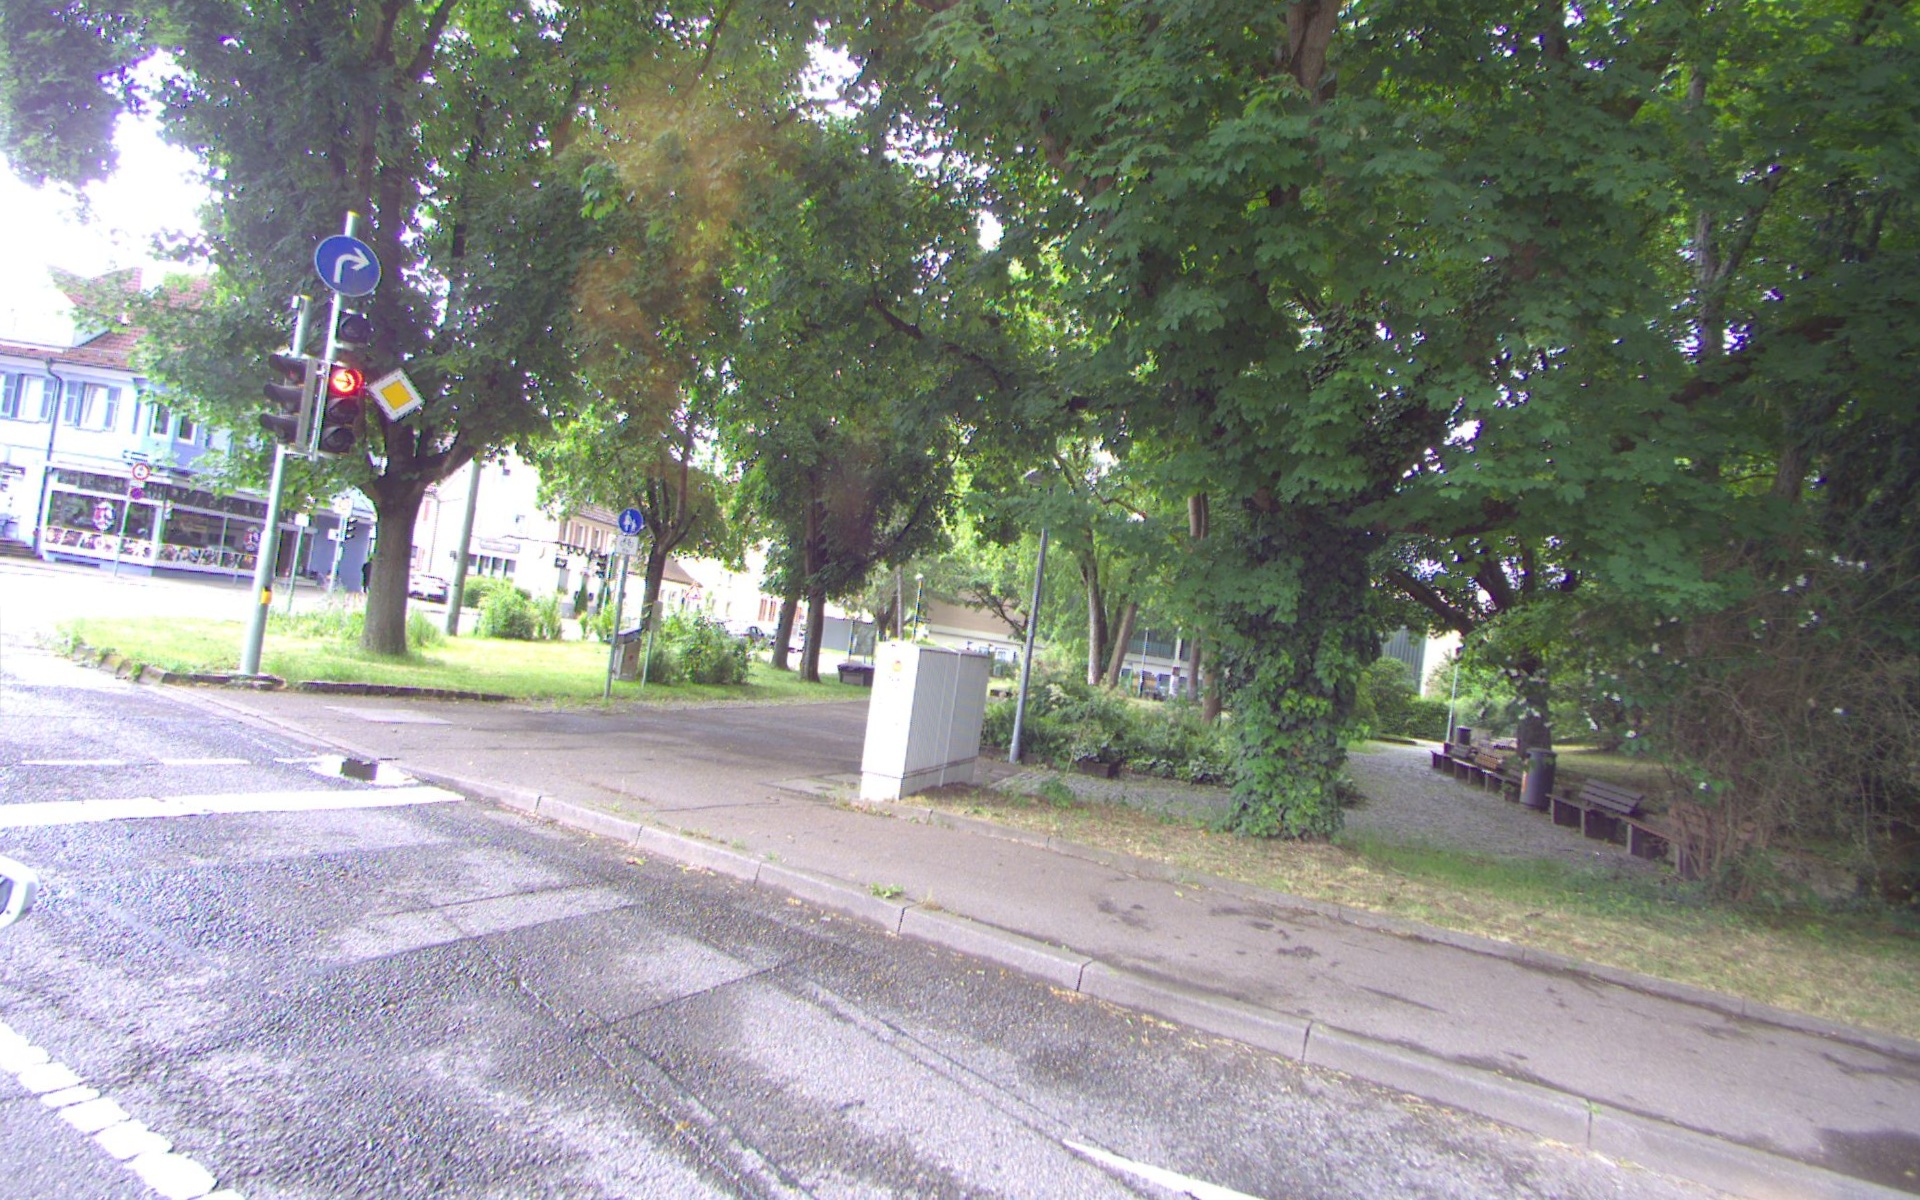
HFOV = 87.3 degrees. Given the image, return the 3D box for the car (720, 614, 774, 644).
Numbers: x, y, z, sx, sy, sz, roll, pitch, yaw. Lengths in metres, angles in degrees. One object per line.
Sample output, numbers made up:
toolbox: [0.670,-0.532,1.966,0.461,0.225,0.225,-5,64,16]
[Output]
car: [-11.567,1.596,54.822,1.530,1.336,3.514,7,-2,9]

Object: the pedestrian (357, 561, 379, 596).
pedestrian: [-27.480,-1.012,46.700,0.576,1.535,0.460,7,-1,12]

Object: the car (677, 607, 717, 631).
car: [-19.367,1.443,74.250,1.528,1.436,4.005,7,-2,4]

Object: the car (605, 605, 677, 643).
car: [-14.009,1.089,44.358,1.530,1.336,3.514,7,-2,9]

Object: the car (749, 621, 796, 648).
car: [-11.165,2.070,60.107,1.530,1.336,3.514,7,-2,8]

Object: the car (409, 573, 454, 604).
car: [-27.869,-0.603,53.146,1.479,1.384,3.166,8,-2,-19]

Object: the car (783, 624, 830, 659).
car: [-10.053,2.758,66.175,1.750,2.037,4.005,7,-2,7]

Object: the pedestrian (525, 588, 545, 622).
pedestrian: [-22.252,0.279,52.673,0.600,1.668,0.610,7,-1,3]
